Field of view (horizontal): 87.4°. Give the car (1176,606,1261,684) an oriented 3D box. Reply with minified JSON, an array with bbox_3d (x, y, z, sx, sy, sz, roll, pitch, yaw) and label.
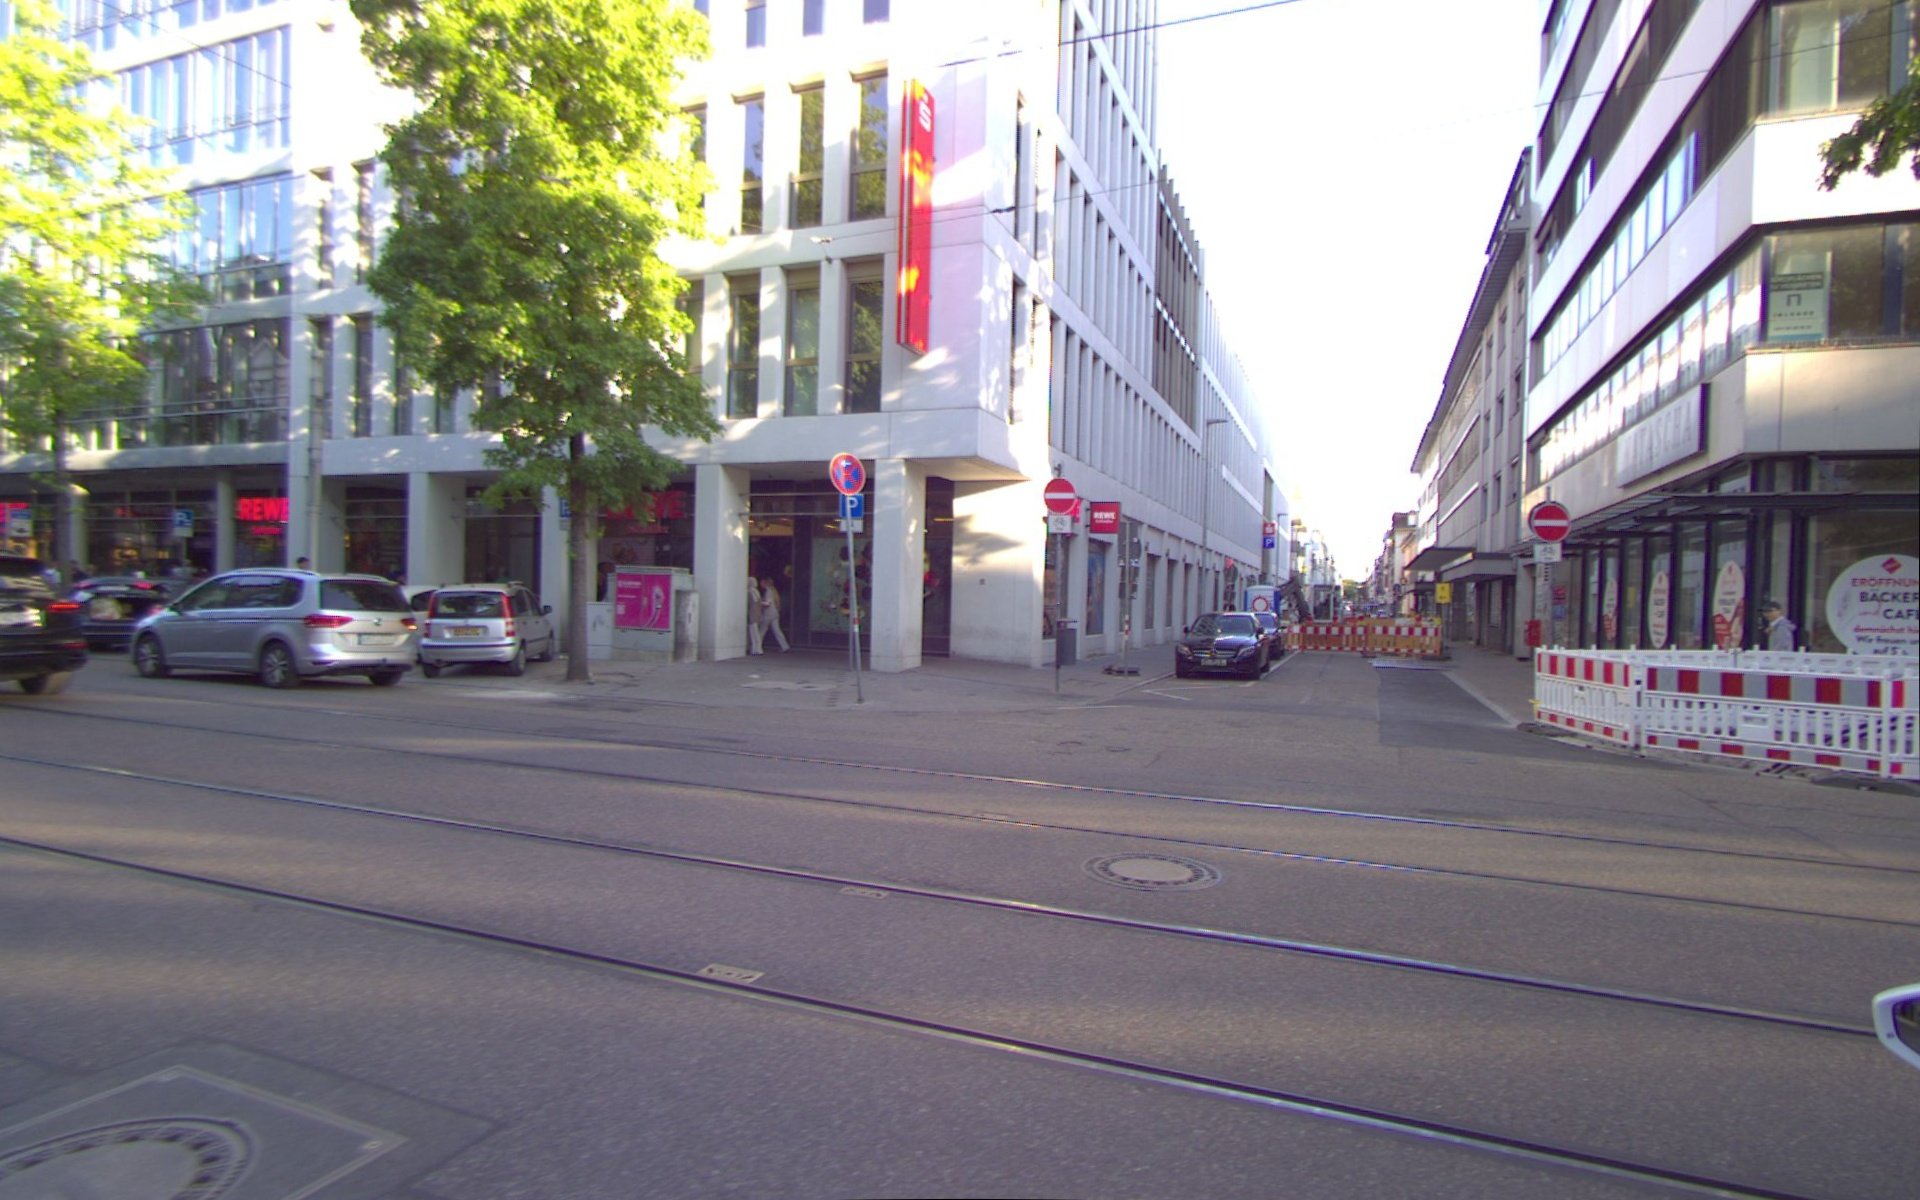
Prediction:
[{"bbox_3d":[5.818,0.936,22.409,1.602,1.571,3.142,1,0,19],"label":"car"}]

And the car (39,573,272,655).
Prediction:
[{"bbox_3d":[-16.932,0.222,21.444,1.913,1.526,3.994,0,2,-4],"label":"car"}]

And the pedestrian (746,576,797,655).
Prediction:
[{"bbox_3d":[-4.086,0.334,21.808,0.856,1.649,0.611,2,0,21],"label":"pedestrian"}]

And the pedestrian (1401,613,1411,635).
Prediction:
[{"bbox_3d":[30.341,1.622,68.389,0.516,1.484,0.717,2,0,30],"label":"pedestrian"}]

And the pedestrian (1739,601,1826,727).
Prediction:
[{"bbox_3d":[10.586,0.802,12.941,0.693,1.570,0.579,1,0,20],"label":"pedestrian"}]

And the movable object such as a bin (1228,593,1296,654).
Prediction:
[{"bbox_3d":[11.069,0.825,36.613,1.961,2.040,3.998,1,0,22],"label":"movable object such as a bin"}]

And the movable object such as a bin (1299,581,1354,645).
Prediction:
[{"bbox_3d":[16.554,0.582,45.253,2.121,2.699,4.571,2,0,22],"label":"movable object such as a bin"}]

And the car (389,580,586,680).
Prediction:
[{"bbox_3d":[-8.391,0.452,18.279,1.913,1.526,3.994,0,2,-4],"label":"car"}]

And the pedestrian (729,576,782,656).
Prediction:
[{"bbox_3d":[-4.317,0.334,21.200,0.856,1.649,0.611,2,0,21],"label":"pedestrian"}]

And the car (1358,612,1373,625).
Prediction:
[{"bbox_3d":[60.708,2.757,150.360,1.961,1.800,3.999,1,0,22],"label":"car"}]

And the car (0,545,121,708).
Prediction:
[{"bbox_3d":[-12.529,0.202,11.705,4.849,1.749,2.022,2,0,20],"label":"car"}]

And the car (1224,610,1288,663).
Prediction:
[{"bbox_3d":[9.137,1.079,30.878,1.760,1.471,3.142,1,0,19],"label":"car"}]

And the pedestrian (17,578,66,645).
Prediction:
[{"bbox_3d":[-23.017,0.288,25.171,0.599,1.649,0.643,2,0,9],"label":"pedestrian"}]

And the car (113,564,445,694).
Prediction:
[{"bbox_3d":[-9.927,0.391,14.688,4.200,1.613,1.829,2,-2,20],"label":"car"}]

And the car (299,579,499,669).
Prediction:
[{"bbox_3d":[-10.942,0.380,19.953,1.913,1.526,3.994,0,2,-4],"label":"car"}]

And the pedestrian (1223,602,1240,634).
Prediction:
[{"bbox_3d":[12.748,0.821,47.140,0.704,1.484,0.525,1,0,25],"label":"pedestrian"}]

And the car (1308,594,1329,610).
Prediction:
[{"bbox_3d":[39.621,0.227,111.013,1.961,1.800,3.999,1,0,22],"label":"car"}]

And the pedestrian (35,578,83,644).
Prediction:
[{"bbox_3d":[-23.124,0.289,25.774,0.599,1.649,0.643,2,0,9],"label":"pedestrian"}]
